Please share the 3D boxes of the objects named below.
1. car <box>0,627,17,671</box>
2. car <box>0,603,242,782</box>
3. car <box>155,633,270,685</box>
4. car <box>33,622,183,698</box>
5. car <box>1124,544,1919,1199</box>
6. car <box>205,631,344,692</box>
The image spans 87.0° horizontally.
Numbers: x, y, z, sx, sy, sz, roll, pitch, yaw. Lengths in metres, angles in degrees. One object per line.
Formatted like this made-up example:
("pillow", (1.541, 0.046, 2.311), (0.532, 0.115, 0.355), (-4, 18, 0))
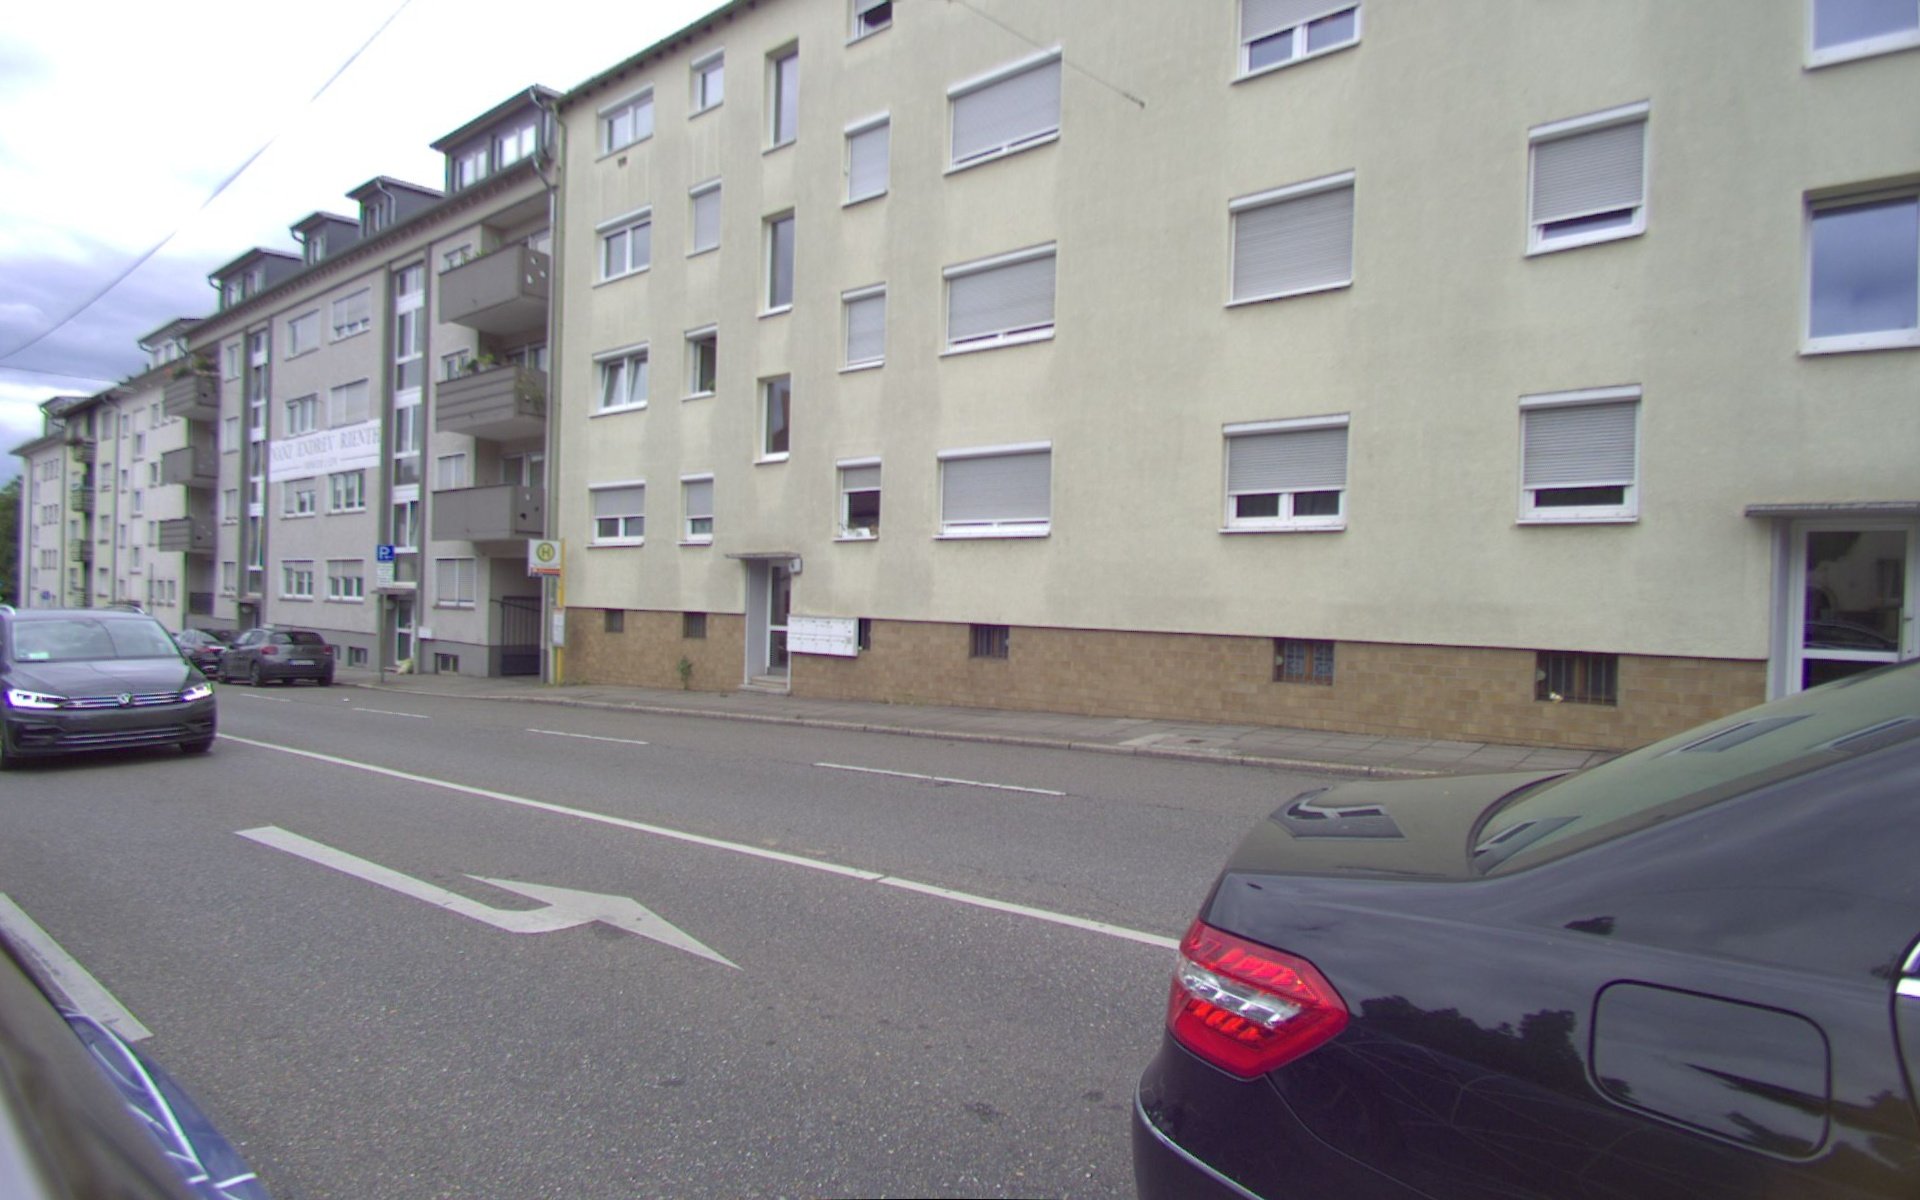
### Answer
("car", (-34.700, 1.703, 35.607), (3.593, 1.494, 1.574), (-1, -2, 36))
("car", (-9.915, 0.871, 11.379), (4.474, 1.623, 1.840), (-1, 0, 38))
("car", (-21.447, 1.658, 29.013), (3.533, 1.386, 1.649), (-1, -3, 36))
("car", (-18.908, 1.264, 22.416), (4.078, 1.533, 1.753), (-1, -2, 39))
("car", (2.712, 0.658, 0.708), (4.840, 1.440, 1.973), (-1, -2, 41))
("car", (-17.584, 1.524, 25.926), (3.680, 1.422, 1.755), (-1, -3, 36))
